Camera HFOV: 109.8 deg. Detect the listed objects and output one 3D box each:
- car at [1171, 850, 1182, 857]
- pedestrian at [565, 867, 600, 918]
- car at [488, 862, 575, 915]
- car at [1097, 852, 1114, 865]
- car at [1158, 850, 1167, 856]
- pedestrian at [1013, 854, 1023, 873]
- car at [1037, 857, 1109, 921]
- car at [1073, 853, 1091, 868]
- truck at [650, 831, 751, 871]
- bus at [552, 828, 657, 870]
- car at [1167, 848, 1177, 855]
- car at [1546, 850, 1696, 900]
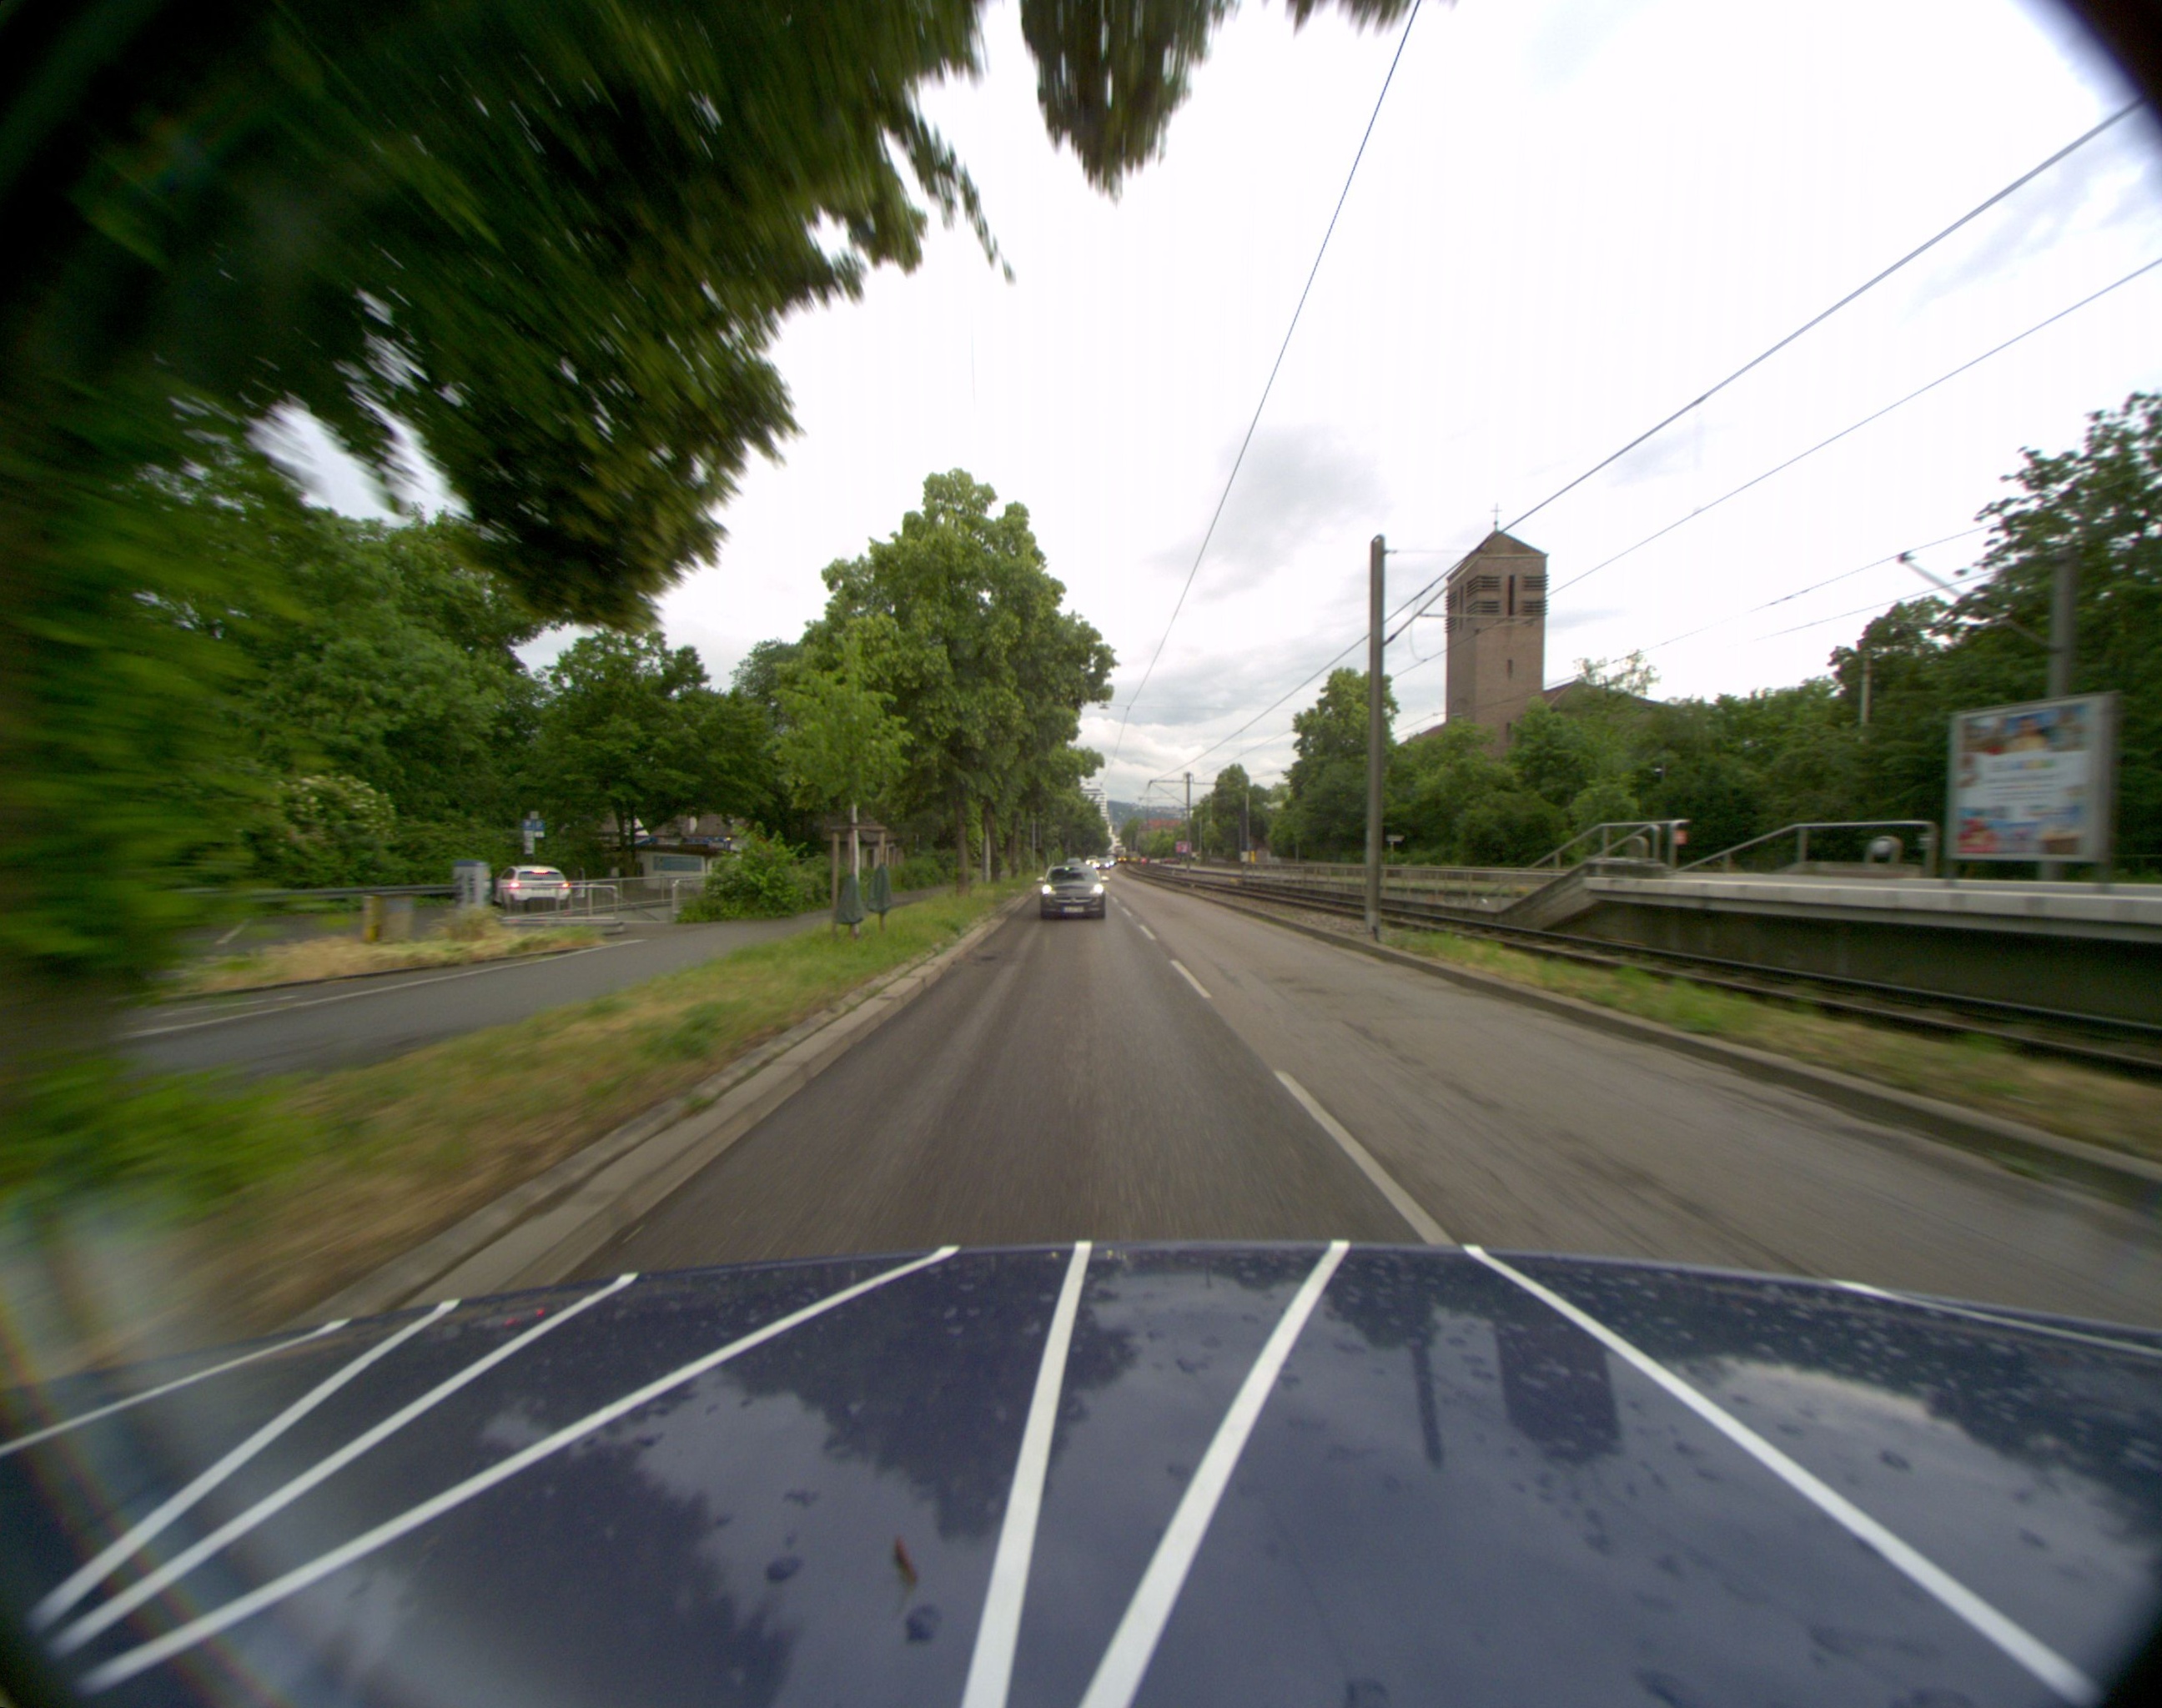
[{"bbox_3d":[20.697,-0.032,164.693,1.970,1.433,4.321,1,0,0],"label":"car"},{"bbox_3d":[-17.961,1.380,27.368,0.899,1.761,0.941,1,1,-42],"label":"pedestrian"},{"bbox_3d":[-18.844,1.087,25.969,2.004,1.570,4.637,-1,1,-41],"label":"car"},{"bbox_3d":[2.924,0.546,91.151,1.768,1.502,4.342,0,0,5],"label":"car"},{"bbox_3d":[22.063,-0.335,206.254,1.998,1.634,4.412,1,0,2],"label":"car"},{"bbox_3d":[-6.161,0.896,74.449,0.857,1.843,0.737,0,1,4],"label":"pedestrian"},{"bbox_3d":[-0.179,0.878,21.249,1.746,1.544,4.493,-2,0,0],"label":"car"},{"bbox_3d":[0.078,0.631,76.623,1.769,1.502,4.340,0,0,-1],"label":"car"},{"bbox_3d":[-28.323,-0.206,56.847,2.054,2.851,6.619,0,0,33],"label":"truck"},{"bbox_3d":[-32.345,-0.311,51.948,2.256,2.685,7.169,0,0,4],"label":"bus"},{"bbox_3d":[22.809,-0.552,190.916,1.998,1.634,4.525,1,0,1],"label":"car"},{"bbox_3d":[19.185,0.676,27.295,1.999,1.614,4.516,-1,0,-3],"label":"car"}]
